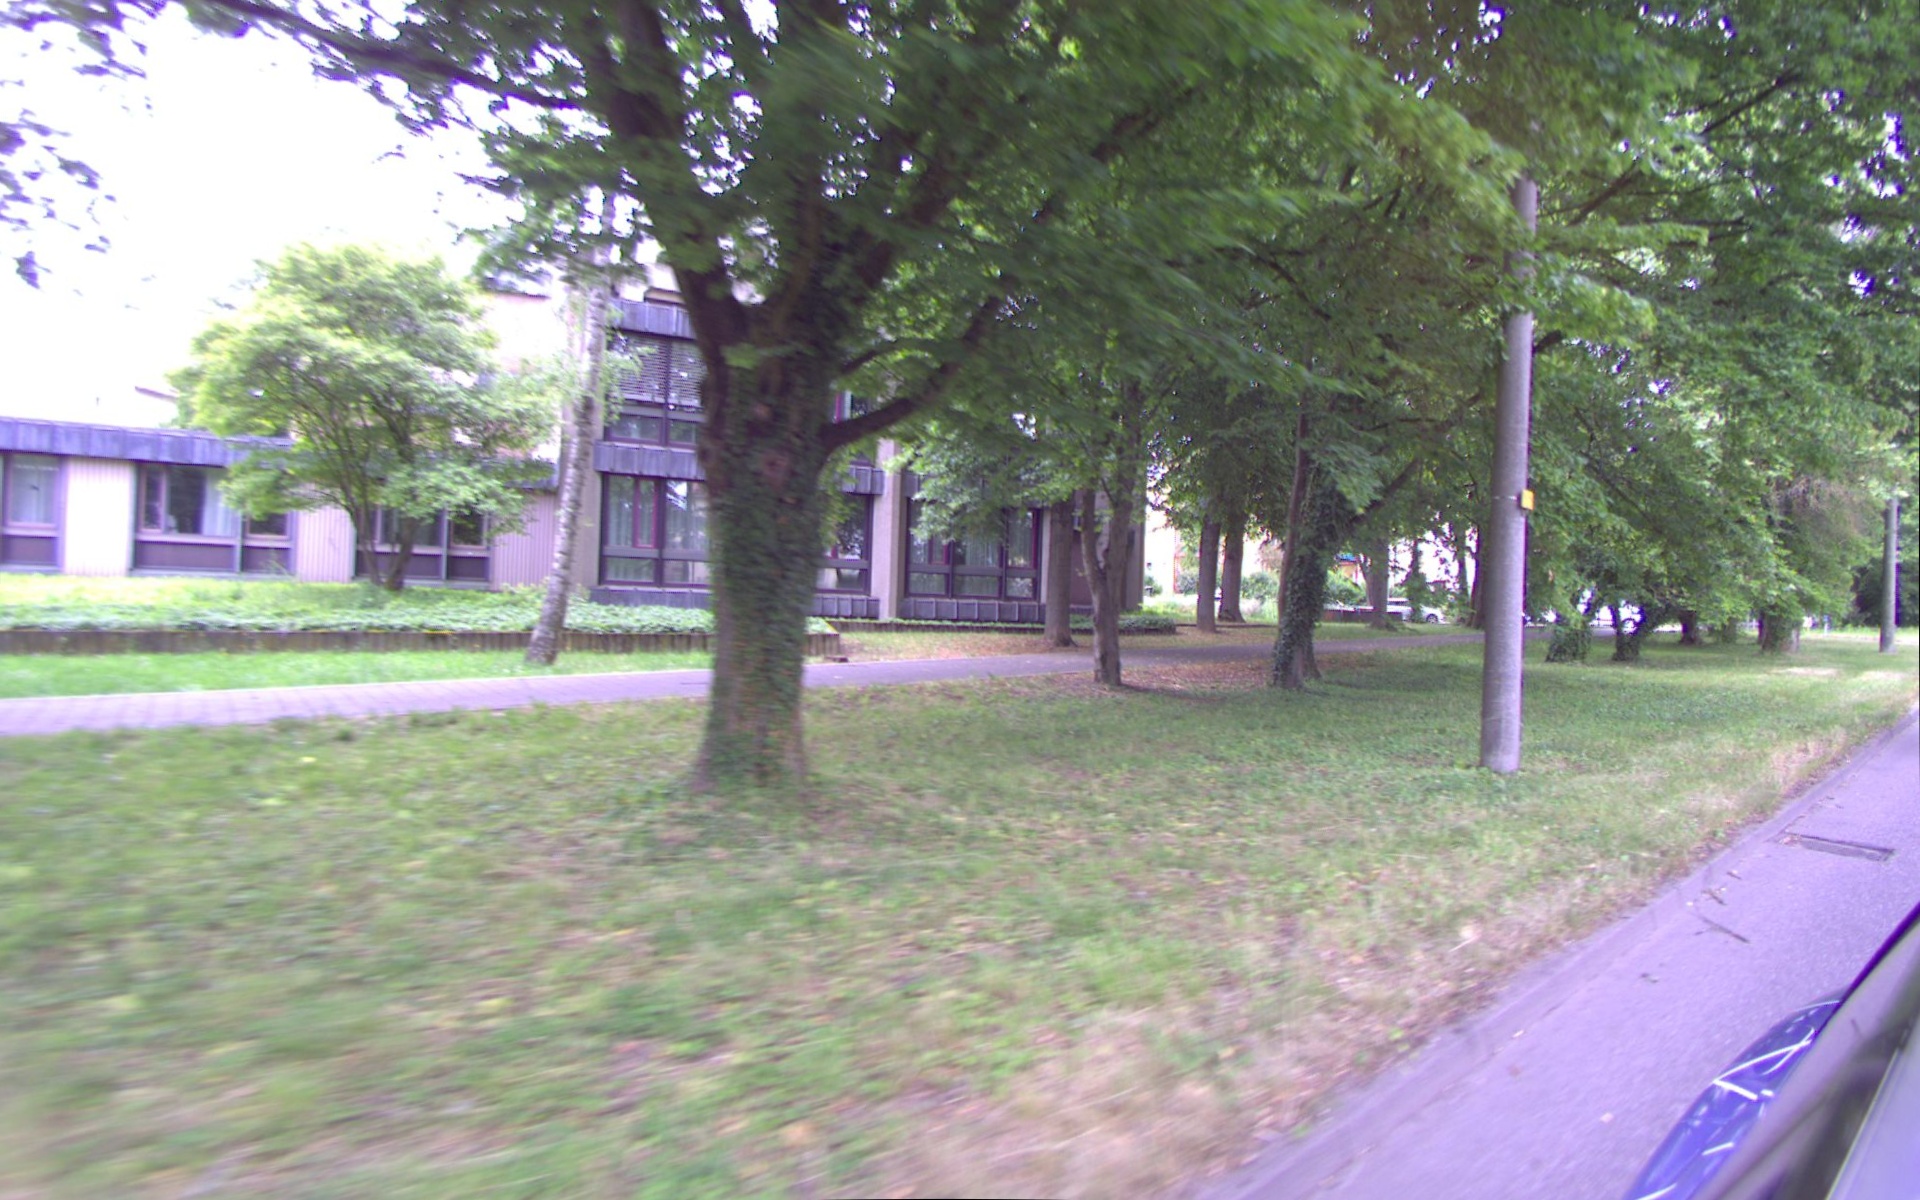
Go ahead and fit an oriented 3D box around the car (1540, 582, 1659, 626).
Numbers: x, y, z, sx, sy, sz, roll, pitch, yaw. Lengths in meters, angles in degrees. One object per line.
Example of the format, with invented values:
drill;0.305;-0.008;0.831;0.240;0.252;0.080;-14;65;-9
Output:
car;36.437;0.203;57.809;5.248;2.328;2.282;1;0;14

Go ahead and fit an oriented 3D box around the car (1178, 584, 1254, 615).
car;14.871;-0.038;58.894;3.924;1.696;1.800;1;0;0

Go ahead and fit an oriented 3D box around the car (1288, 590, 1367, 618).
car;21.461;0.246;59.210;3.923;1.529;1.800;1;0;-1

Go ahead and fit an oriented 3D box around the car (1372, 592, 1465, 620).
car;26.630;0.329;58.871;4.518;1.529;1.799;1;0;2

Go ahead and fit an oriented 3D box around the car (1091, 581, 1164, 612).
car;9.734;-0.176;58.952;3.924;1.696;1.800;1;0;0
